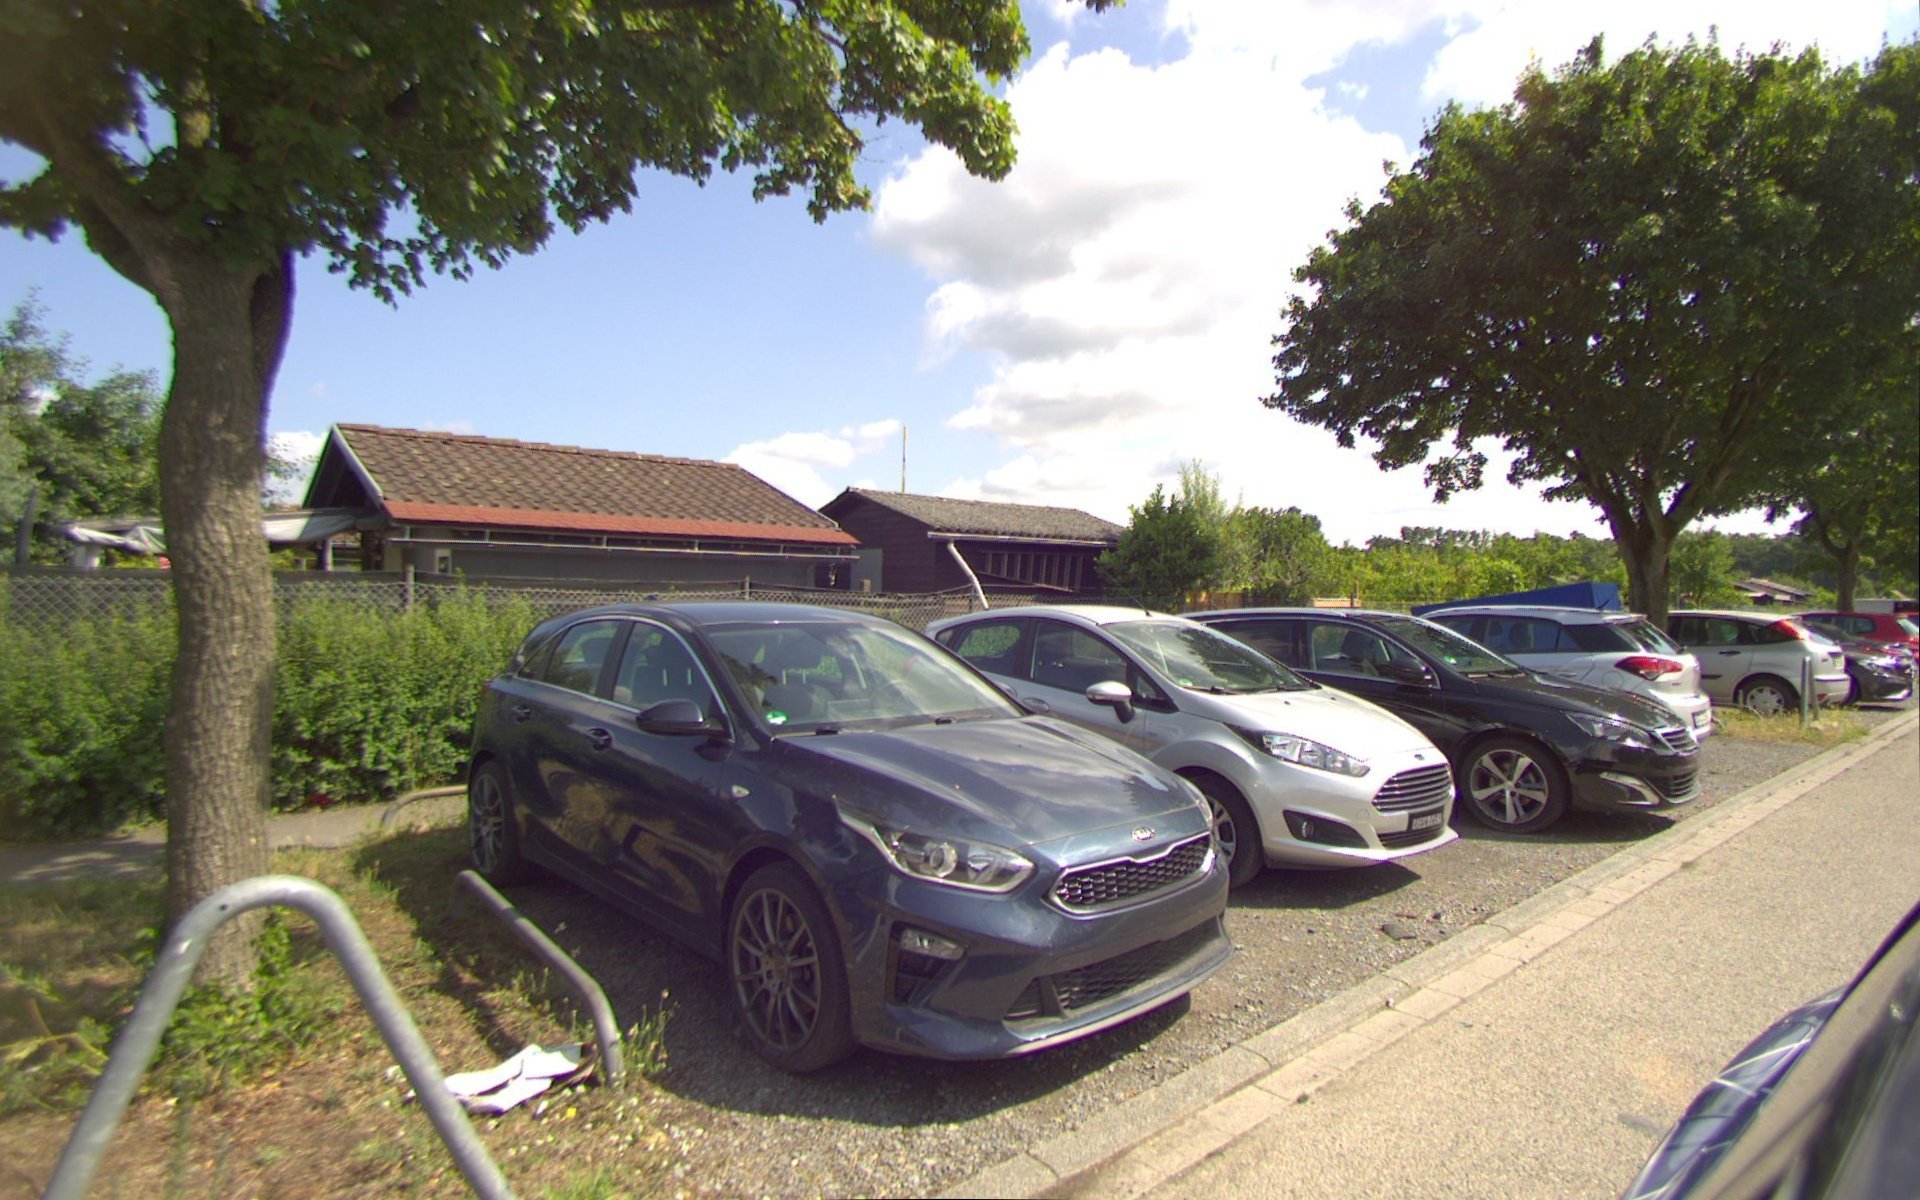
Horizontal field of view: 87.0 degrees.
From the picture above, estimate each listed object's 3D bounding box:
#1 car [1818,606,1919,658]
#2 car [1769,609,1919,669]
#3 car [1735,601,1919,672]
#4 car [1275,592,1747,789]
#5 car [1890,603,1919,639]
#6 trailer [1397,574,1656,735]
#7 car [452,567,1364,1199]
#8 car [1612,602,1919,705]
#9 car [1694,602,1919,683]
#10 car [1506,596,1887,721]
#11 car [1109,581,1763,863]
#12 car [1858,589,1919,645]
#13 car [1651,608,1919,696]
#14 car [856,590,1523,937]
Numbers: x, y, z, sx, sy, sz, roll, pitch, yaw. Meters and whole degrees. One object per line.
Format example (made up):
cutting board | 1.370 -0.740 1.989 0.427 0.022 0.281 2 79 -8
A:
car | 29.032 0.962 30.802 1.844 1.523 4.192 0 -1 -39
car | 23.705 0.971 26.112 1.877 1.446 4.241 0 -1 -44
car | 21.444 0.838 24.647 1.837 1.594 3.770 0 -1 -41
car | 5.268 0.729 9.992 1.819 1.559 3.726 0 -1 -43
car | 41.836 0.912 42.060 1.967 1.484 4.582 1 0 -43
trailer | 6.915 0.617 12.436 1.493 1.743 2.451 2 -2 -44
car | -0.695 0.696 4.645 1.941 1.511 4.342 0 -1 -41
car | 13.306 0.793 16.580 1.838 1.474 4.070 0 -1 -42
car | 18.042 0.832 21.174 1.820 1.539 3.997 0 -1 -37
car | 10.472 0.736 14.658 1.922 1.531 4.075 0 -1 -37
car | 3.479 0.714 8.082 1.965 1.614 4.309 0 -1 -41
car | 34.829 0.641 35.589 2.075 1.910 4.642 1 1 -42
car | 15.532 0.882 18.925 1.922 1.442 3.920 0 -1 -37
car | 1.196 0.727 6.488 1.869 1.511 3.819 0 -1 -41
